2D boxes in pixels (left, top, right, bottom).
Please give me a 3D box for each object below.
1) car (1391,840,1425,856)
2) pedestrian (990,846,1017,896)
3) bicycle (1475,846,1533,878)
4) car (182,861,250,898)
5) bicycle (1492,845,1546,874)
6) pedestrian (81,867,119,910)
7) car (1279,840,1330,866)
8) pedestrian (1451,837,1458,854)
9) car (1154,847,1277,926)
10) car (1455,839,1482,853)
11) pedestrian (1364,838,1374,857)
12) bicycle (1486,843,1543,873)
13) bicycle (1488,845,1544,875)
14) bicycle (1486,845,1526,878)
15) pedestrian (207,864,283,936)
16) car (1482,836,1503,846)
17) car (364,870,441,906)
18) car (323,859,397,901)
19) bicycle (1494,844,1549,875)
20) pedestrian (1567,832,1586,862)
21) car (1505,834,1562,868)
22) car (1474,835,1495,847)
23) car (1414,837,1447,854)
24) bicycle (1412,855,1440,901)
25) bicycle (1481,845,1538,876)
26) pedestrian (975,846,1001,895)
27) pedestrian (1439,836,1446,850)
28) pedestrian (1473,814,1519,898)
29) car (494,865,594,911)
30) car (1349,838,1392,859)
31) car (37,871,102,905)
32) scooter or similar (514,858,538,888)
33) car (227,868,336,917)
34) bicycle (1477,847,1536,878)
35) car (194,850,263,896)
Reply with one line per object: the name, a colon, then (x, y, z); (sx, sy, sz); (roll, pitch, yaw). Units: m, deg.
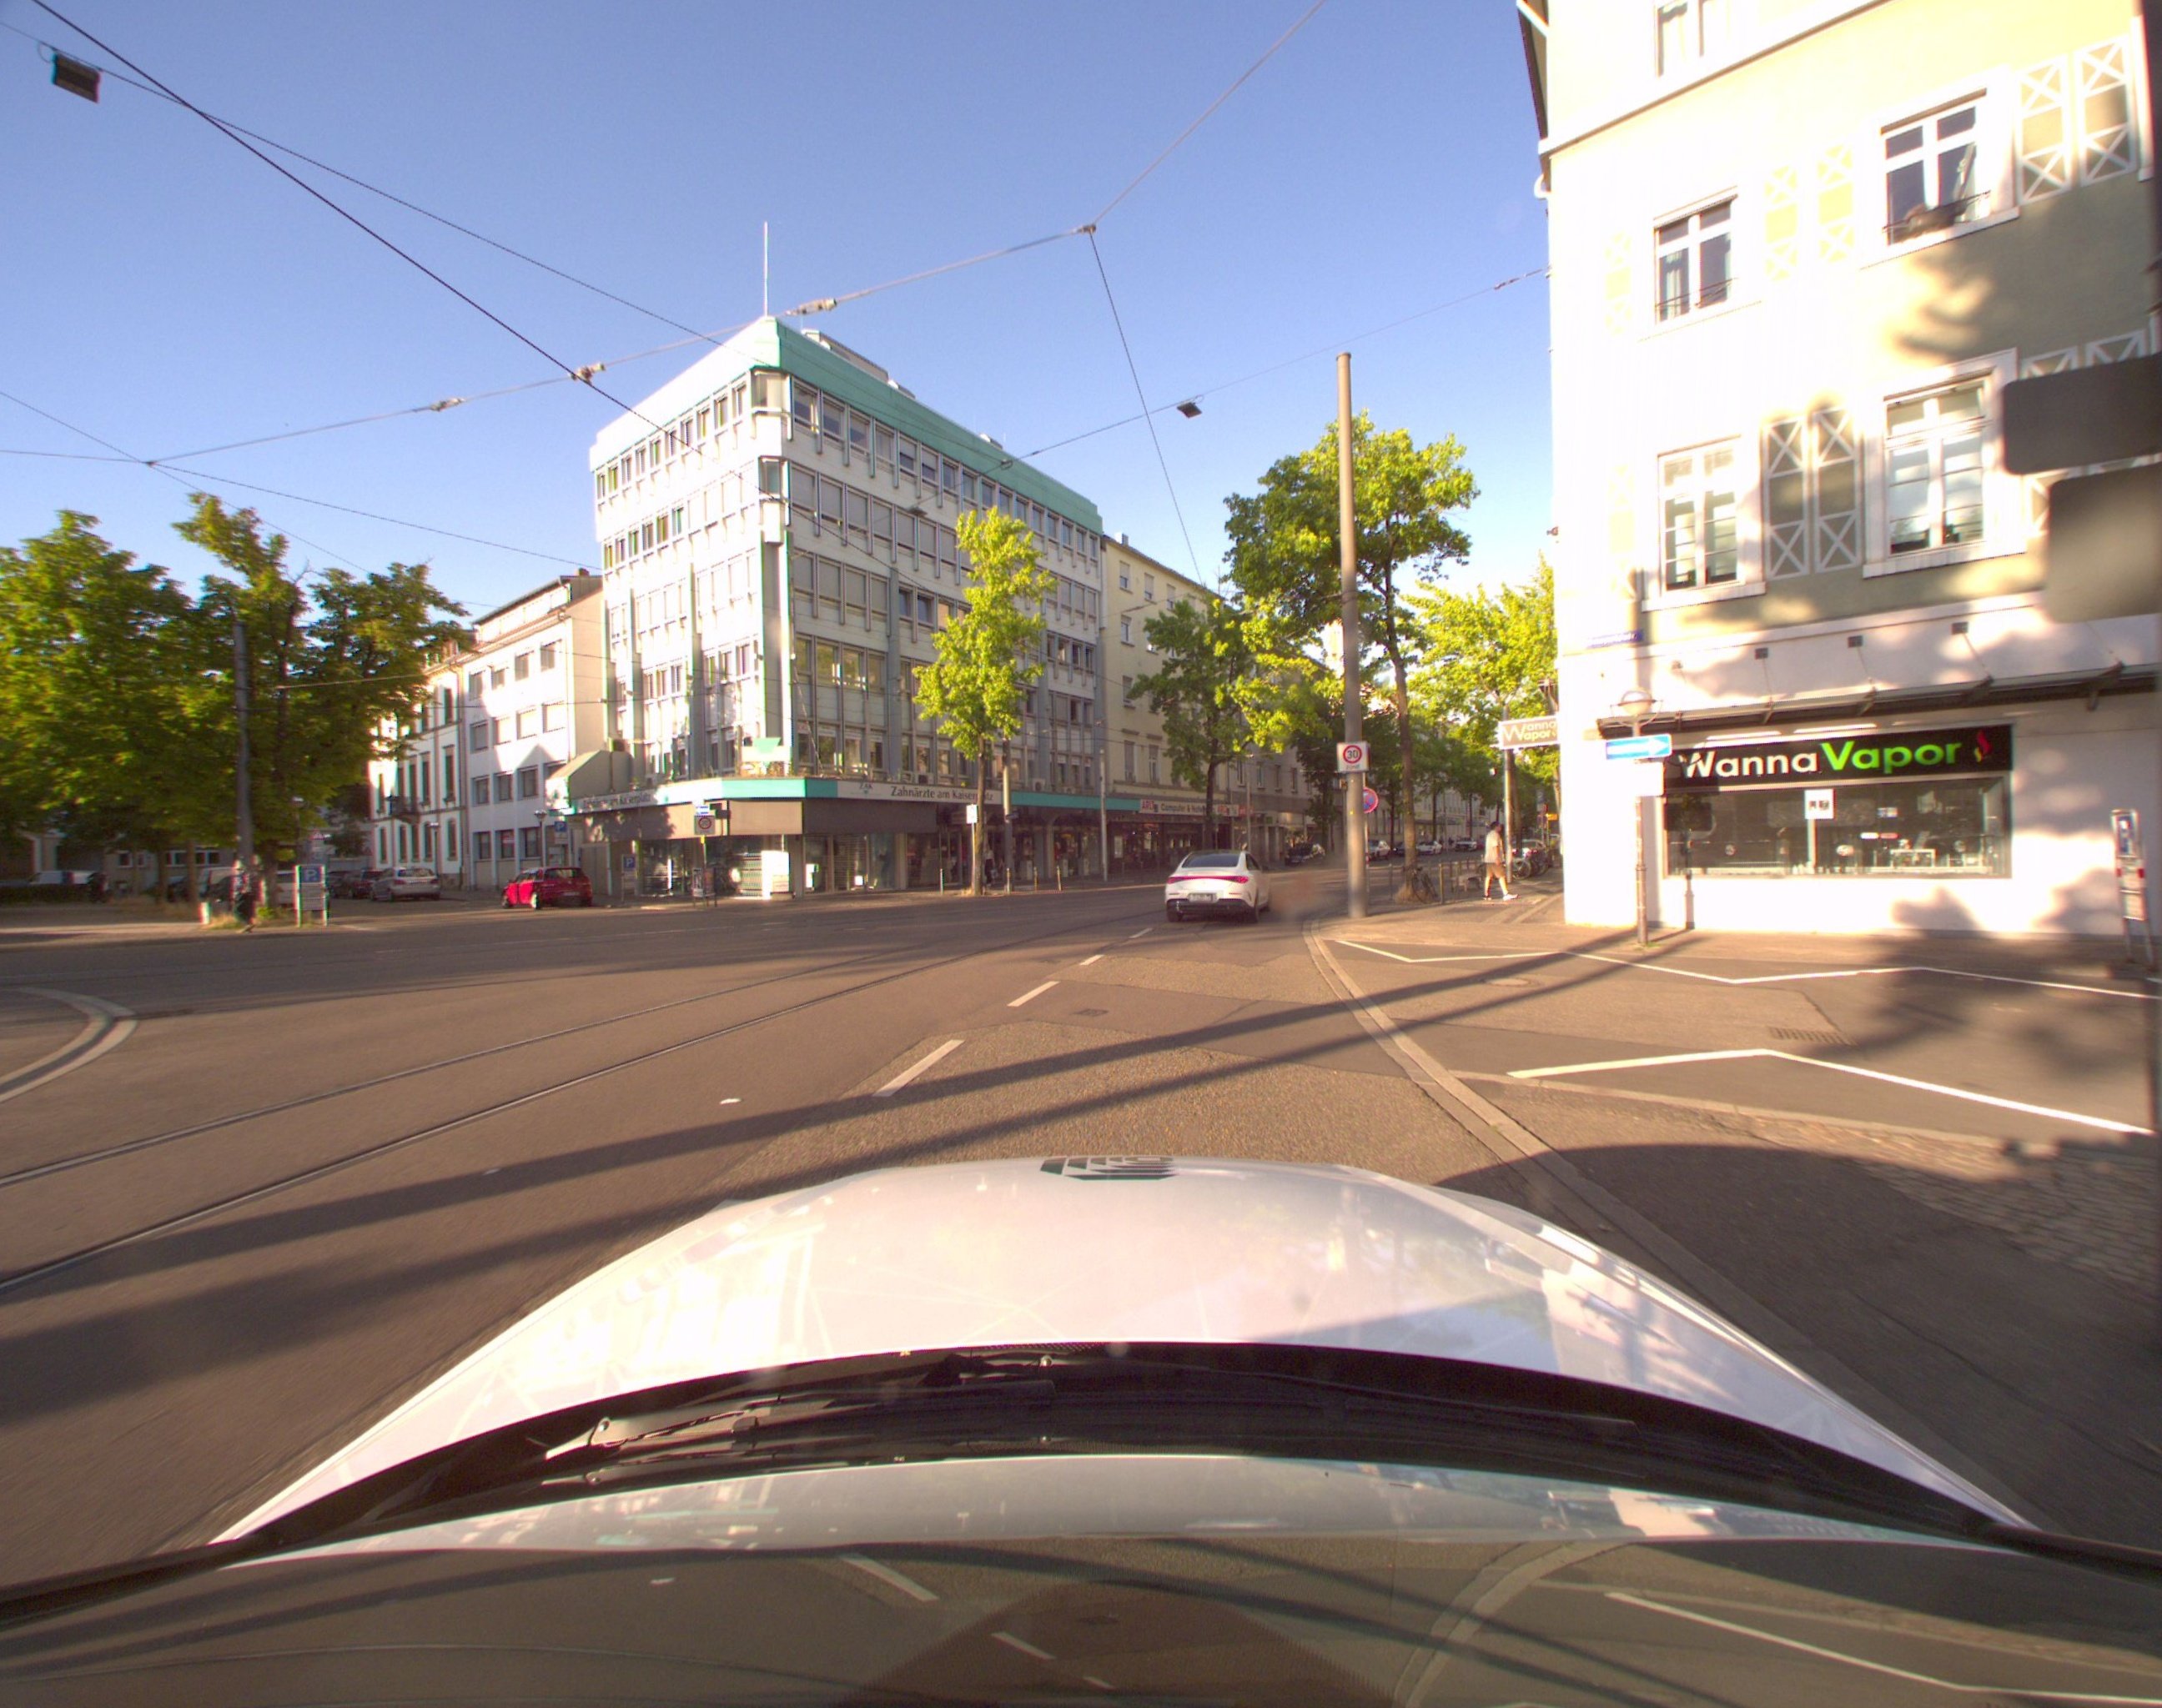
car: (30.718, -0.554, 76.406); (1.943, 1.412, 4.878); (-1, 0, 33)
pedestrian: (-3.215, 0.687, 33.663); (0.789, 2.013, 0.739); (-1, 0, 37)
bicycle: (15.702, 0.309, 30.244); (1.848, 1.154, 0.350); (-1, 0, 38)
car: (-43.504, 1.245, 40.937); (3.948, 1.728, 2.013); (-1, 0, 38)
bicycle: (17.608, 0.230, 32.752); (1.848, 1.154, 0.566); (-1, 0, 38)
pedestrian: (-47.909, 1.649, 39.773); (1.446, 2.013, 1.126); (-1, 0, 37)
car: (15.246, -0.084, 55.491); (1.943, 1.640, 4.026); (-1, 0, 37)
pedestrian: (45.714, -1.063, 99.655); (0.700, 2.004, 0.680); (-2, 0, 30)
car: (3.009, 0.619, 17.509); (1.852, 1.469, 4.063); (-2, 0, 20)
car: (46.707, -0.973, 98.011); (1.943, 1.692, 5.045); (-1, 0, 37)
pedestrian: (26.546, -0.594, 74.968); (0.679, 1.720, 0.660); (0, 1, 36)
bicycle: (16.894, 0.169, 31.757); (1.848, 1.154, 0.566); (-1, 0, 38)
bicycle: (17.229, 0.242, 32.281); (1.848, 1.154, 0.566); (-1, 0, 38)
bicycle: (15.289, 0.271, 29.333); (0.459, 1.154, 1.679); (-1, 0, -3)
pedestrian: (-20.848, 1.116, 20.332); (1.168, 1.702, 0.897); (-1, -1, -37)
car: (56.843, -1.806, 112.383); (1.974, 1.292, 4.026); (-1, 1, 36)
car: (-31.372, 1.525, 37.644); (3.948, 1.530, 2.013); (-1, 0, 39)
car: (-36.651, 1.294, 41.379); (3.948, 2.013, 2.013); (-1, 0, 37)
bicycle: (17.997, 0.243, 33.296); (1.848, 1.154, 0.566); (-4, -2, 38)
pedestrian: (28.573, -0.406, 46.927); (0.795, 1.643, 0.760); (-3, 0, 36)
car: (22.174, -0.162, 39.828); (1.758, 1.440, 4.451); (-5, -2, 36)
car: (52.317, -1.693, 105.545); (1.672, 1.499, 4.261); (-1, 0, 37)
car: (35.560, -0.881, 82.737); (1.928, 1.640, 4.940); (0, 1, 37)
bicycle: (8.682, 0.583, 20.450); (0.351, 1.076, 1.710); (-1, 0, 33)
bicycle: (16.441, 0.251, 31.255); (1.848, 1.154, 0.566); (-1, 0, 38)
pedestrian: (-3.890, 0.673, 34.124); (0.789, 2.013, 0.739); (-1, 0, 37)
pedestrian: (44.586, -1.358, 100.493); (0.700, 1.806, 0.680); (-2, 0, 31)
pedestrian: (10.144, 0.046, 19.934); (0.837, 2.013, 0.847); (-1, 0, 16)
car: (-19.154, 1.161, 28.991); (3.949, 1.485, 2.039); (-1, 0, 42)
car: (23.656, -0.491, 66.519); (1.943, 1.639, 4.843); (2, 2, 36)
car: (-64.023, 2.158, 51.531); (3.948, 2.013, 2.013); (-1, 0, 31)
scooter or similar: (-26.803, 0.912, 39.321); (0.757, 1.398, 1.910); (-1, 0, -29)
car: (-30.562, 1.442, 31.135); (3.948, 1.684, 2.013); (-1, 0, 31)
bicycle: (16.016, 0.319, 30.677); (1.848, 1.154, 0.566); (-1, 0, 38)
car: (-39.298, 0.843, 37.538); (3.949, 2.013, 2.012); (-1, 0, 41)
